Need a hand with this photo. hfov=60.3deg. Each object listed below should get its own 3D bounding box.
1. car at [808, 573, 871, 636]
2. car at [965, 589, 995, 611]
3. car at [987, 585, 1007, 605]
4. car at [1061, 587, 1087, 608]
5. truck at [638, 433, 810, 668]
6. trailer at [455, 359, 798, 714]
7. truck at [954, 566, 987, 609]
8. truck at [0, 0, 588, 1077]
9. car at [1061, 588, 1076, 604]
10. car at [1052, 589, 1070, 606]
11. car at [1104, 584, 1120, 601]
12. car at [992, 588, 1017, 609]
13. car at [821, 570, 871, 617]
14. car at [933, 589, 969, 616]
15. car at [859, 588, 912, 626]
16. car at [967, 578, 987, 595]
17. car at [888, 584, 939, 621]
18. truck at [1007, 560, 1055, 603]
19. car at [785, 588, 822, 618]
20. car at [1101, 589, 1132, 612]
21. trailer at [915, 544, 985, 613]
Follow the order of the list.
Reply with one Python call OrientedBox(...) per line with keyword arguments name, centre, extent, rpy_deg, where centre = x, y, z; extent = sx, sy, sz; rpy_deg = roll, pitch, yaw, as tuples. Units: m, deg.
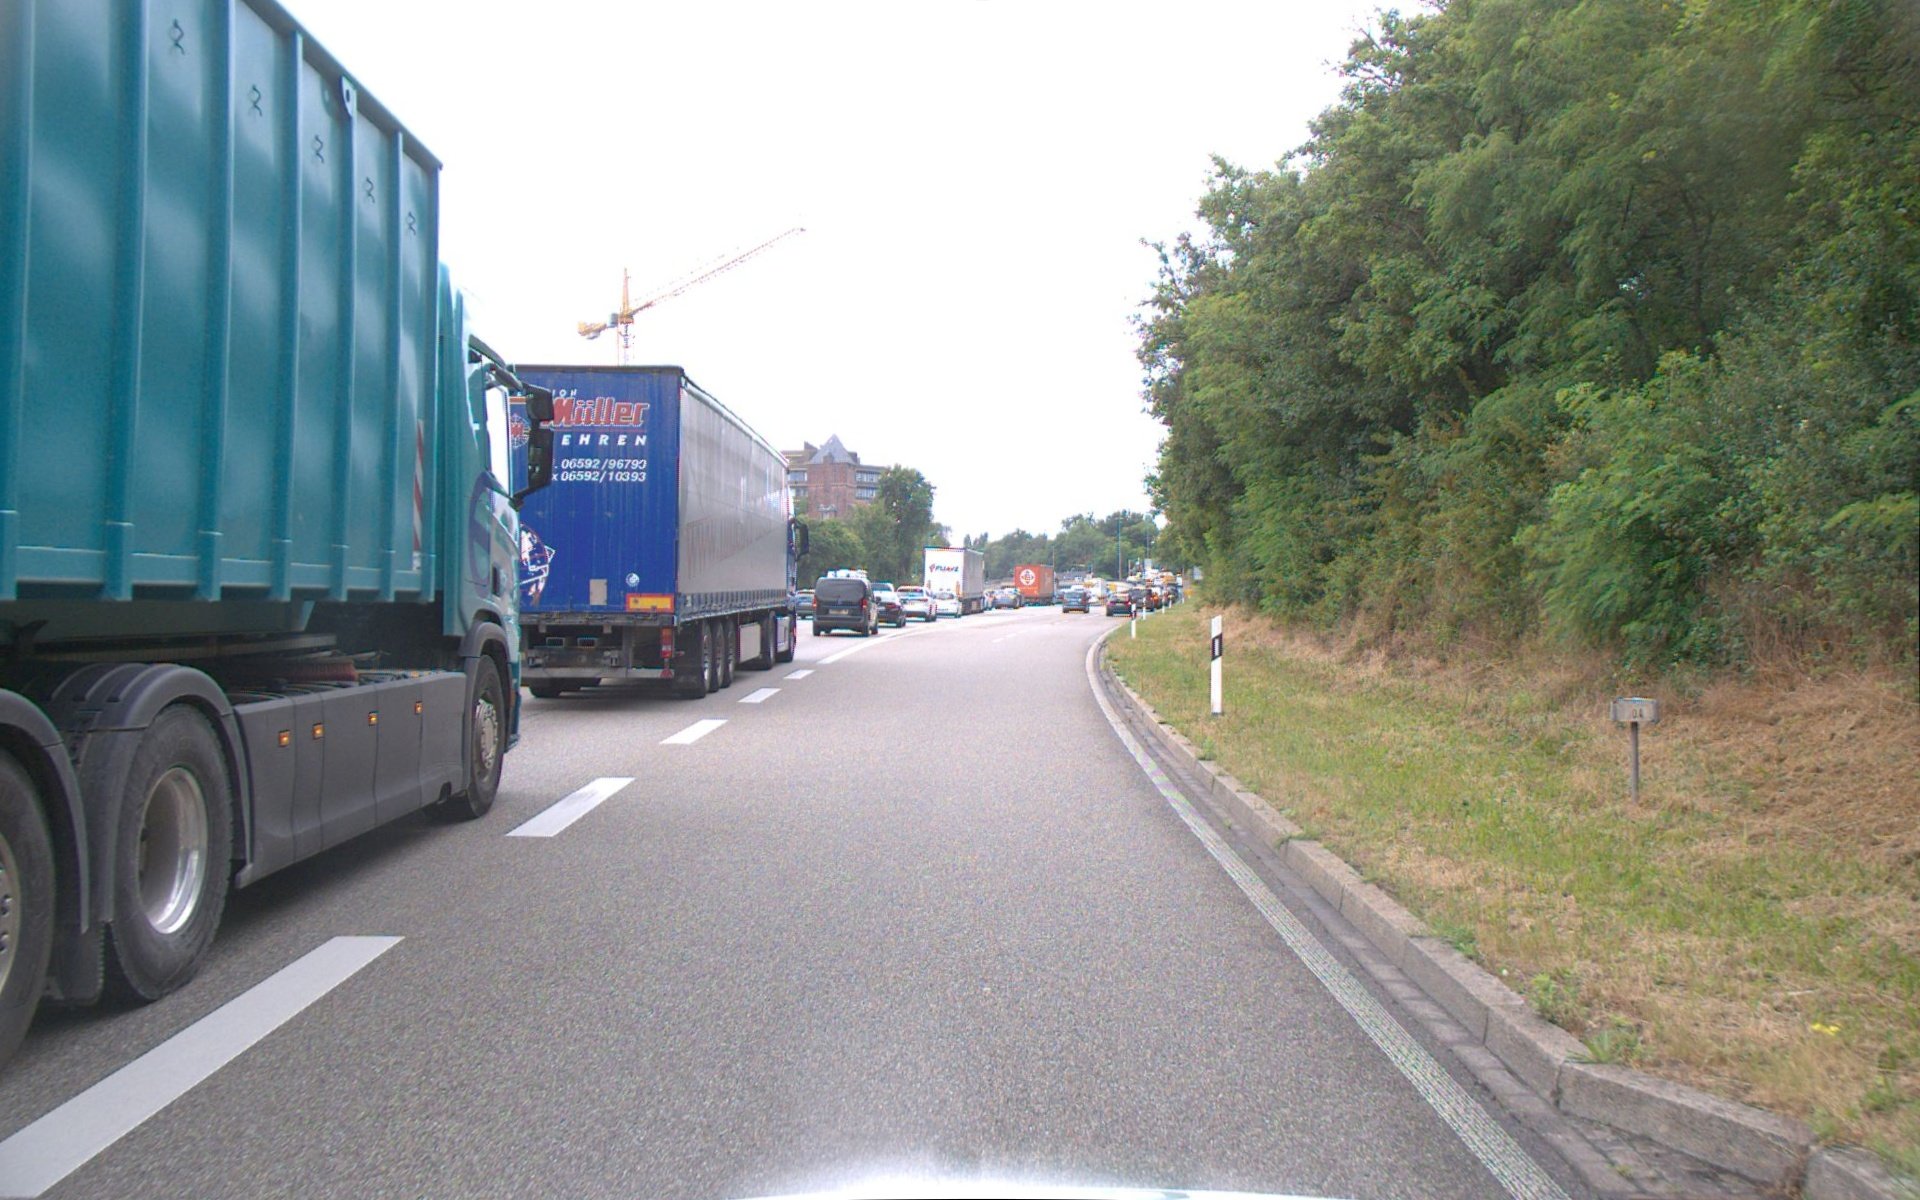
OrientedBox(name="car", centre=(-4.039, 0.144, 55.663), extent=(1.949, 1.931, 4.981), rpy_deg=(-3, 0, -4))
OrientedBox(name="car", centre=(1.547, 0.038, 126.351), extent=(1.761, 1.632, 4.261), rpy_deg=(1, 0, 7))
OrientedBox(name="car", centre=(3.770, -0.547, 169.191), extent=(1.779, 2.049, 4.003), rpy_deg=(0, 0, 6))
OrientedBox(name="car", centre=(8.307, -0.185, 120.250), extent=(1.786, 1.508, 4.003), rpy_deg=(0, 0, 5))
OrientedBox(name="truck", centre=(-4.497, -0.871, 32.729), extent=(2.509, 4.113, 6.587), rpy_deg=(1, 0, -1))
OrientedBox(name="trailer", centre=(-4.565, -0.726, 26.111), extent=(2.572, 4.093, 13.463), rpy_deg=(1, 0, 0))
OrientedBox(name="truck", centre=(1.146, -1.223, 171.300), extent=(2.681, 4.211, 10.703), rpy_deg=(1, 0, 4))
OrientedBox(name="truck", centre=(-4.230, -0.631, 7.737), extent=(2.870, 3.863, 11.325), rpy_deg=(0, 0, -3))
OrientedBox(name="car", centre=(13.408, -0.488, 203.706), extent=(1.580, 1.982, 3.708), rpy_deg=(1, 0, 8))
OrientedBox(name="car", centre=(11.785, -0.264, 192.527), extent=(1.580, 1.982, 3.708), rpy_deg=(1, 0, 11))
OrientedBox(name="car", centre=(18.830, -0.937, 205.182), extent=(1.909, 2.049, 4.003), rpy_deg=(0, 0, 6))
OrientedBox(name="car", centre=(3.702, -0.127, 136.762), extent=(1.681, 1.713, 4.003), rpy_deg=(1, 0, 7))
OrientedBox(name="car", centre=(-6.427, -0.358, 93.858), extent=(1.951, 2.598, 5.366), rpy_deg=(0, 0, 6))
OrientedBox(name="car", centre=(-0.492, 0.120, 93.137), extent=(1.727, 1.504, 4.091), rpy_deg=(0, 0, 4))
OrientedBox(name="car", centre=(-3.058, 0.287, 68.762), extent=(1.809, 1.485, 4.832), rpy_deg=(1, 0, 2))
OrientedBox(name="car", centre=(2.178, -1.680, 206.851), extent=(1.951, 2.049, 4.003), rpy_deg=(0, 0, 8))
OrientedBox(name="car", centre=(-2.269, 0.121, 81.758), extent=(1.915, 1.724, 4.868), rpy_deg=(1, 0, 5))
OrientedBox(name="truck", centre=(7.367, -1.860, 168.706), extent=(3.415, 4.144, 13.603), rpy_deg=(0, 0, 9))
OrientedBox(name="car", centre=(-7.676, 0.170, 81.366), extent=(1.411, 1.411, 3.048), rpy_deg=(1, 0, 2))
OrientedBox(name="car", centre=(10.322, 0.004, 108.848), extent=(1.786, 1.508, 4.004), rpy_deg=(0, 0, 10))
OrientedBox(name="trailer", centre=(-0.503, -1.267, 105.983), extent=(3.229, 4.107, 13.105), rpy_deg=(1, 0, 5))
